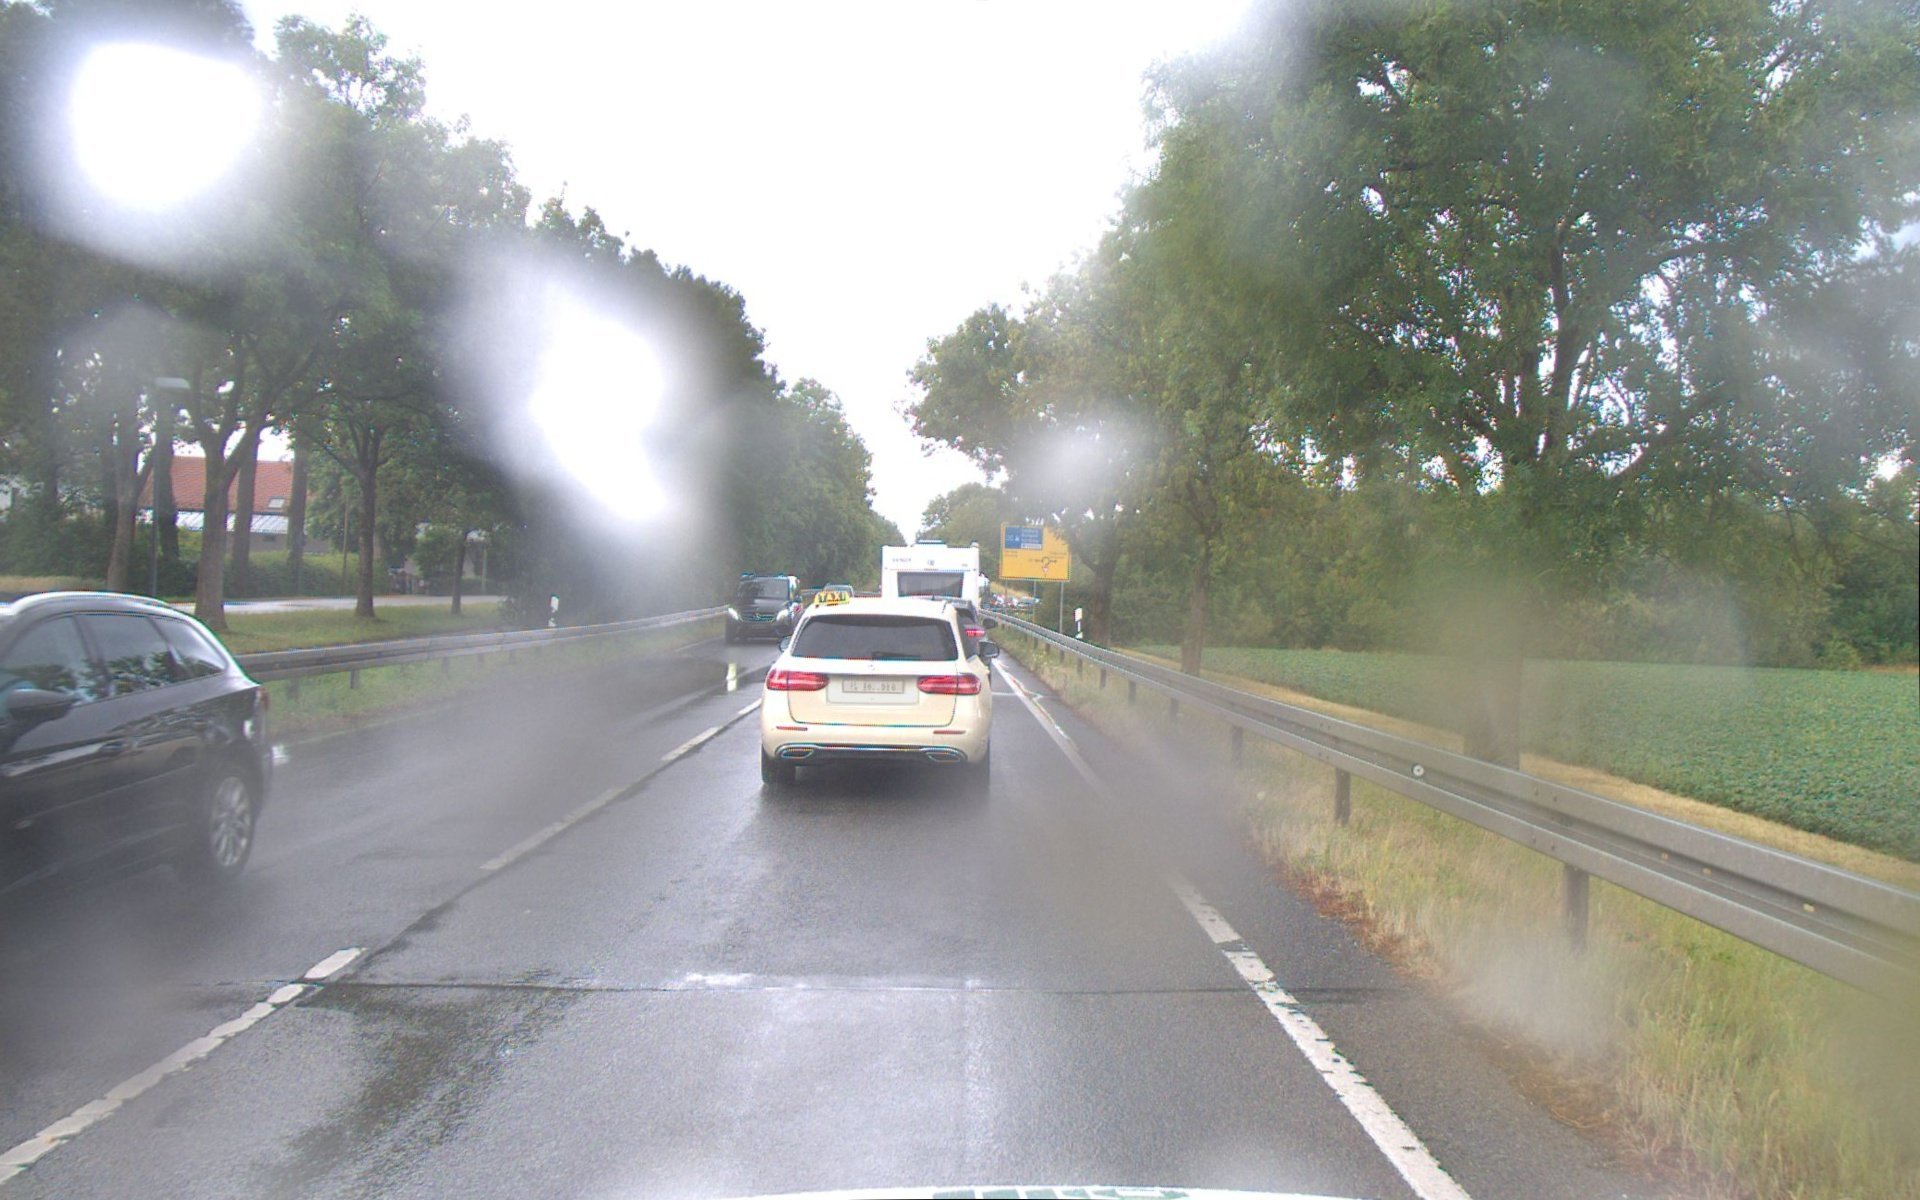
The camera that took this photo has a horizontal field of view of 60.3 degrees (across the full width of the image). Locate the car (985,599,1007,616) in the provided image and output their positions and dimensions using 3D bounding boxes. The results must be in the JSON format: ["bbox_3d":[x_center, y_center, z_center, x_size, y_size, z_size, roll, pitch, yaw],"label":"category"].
[{"bbox_3d":[2.657,0.557,122.050,1.520,1.138,4.000,1,0,0],"label":"car"}]

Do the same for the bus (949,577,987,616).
[{"bbox_3d":[0.409,-0.188,89.093,1.953,2.049,3.999,0,0,-1],"label":"bus"}]

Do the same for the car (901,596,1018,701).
[{"bbox_3d":[0.002,0.677,25.216,1.630,1.456,4.000,1,0,0],"label":"car"}]

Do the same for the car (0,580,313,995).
[{"bbox_3d":[-4.273,0.653,6.758,1.679,1.476,4.110,1,0,-1],"label":"car"}]

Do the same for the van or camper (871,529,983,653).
[{"bbox_3d":[-0.721,-0.208,39.979,2.438,2.732,5.700,1,0,0],"label":"van or camper"}]

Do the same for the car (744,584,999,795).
[{"bbox_3d":[-0.626,0.639,13.950,1.826,1.502,4.000,1,0,0],"label":"car"}]

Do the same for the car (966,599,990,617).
[{"bbox_3d":[1.217,0.549,112.751,1.520,1.138,3.999,1,0,-1],"label":"car"}]

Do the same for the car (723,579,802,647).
[{"bbox_3d":[-5.588,0.340,47.314,1.791,1.834,4.414,1,0,-1],"label":"car"}]

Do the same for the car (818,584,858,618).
[{"bbox_3d":[-5.542,0.020,75.524,1.595,1.463,3.959,1,0,-1],"label":"car"}]
